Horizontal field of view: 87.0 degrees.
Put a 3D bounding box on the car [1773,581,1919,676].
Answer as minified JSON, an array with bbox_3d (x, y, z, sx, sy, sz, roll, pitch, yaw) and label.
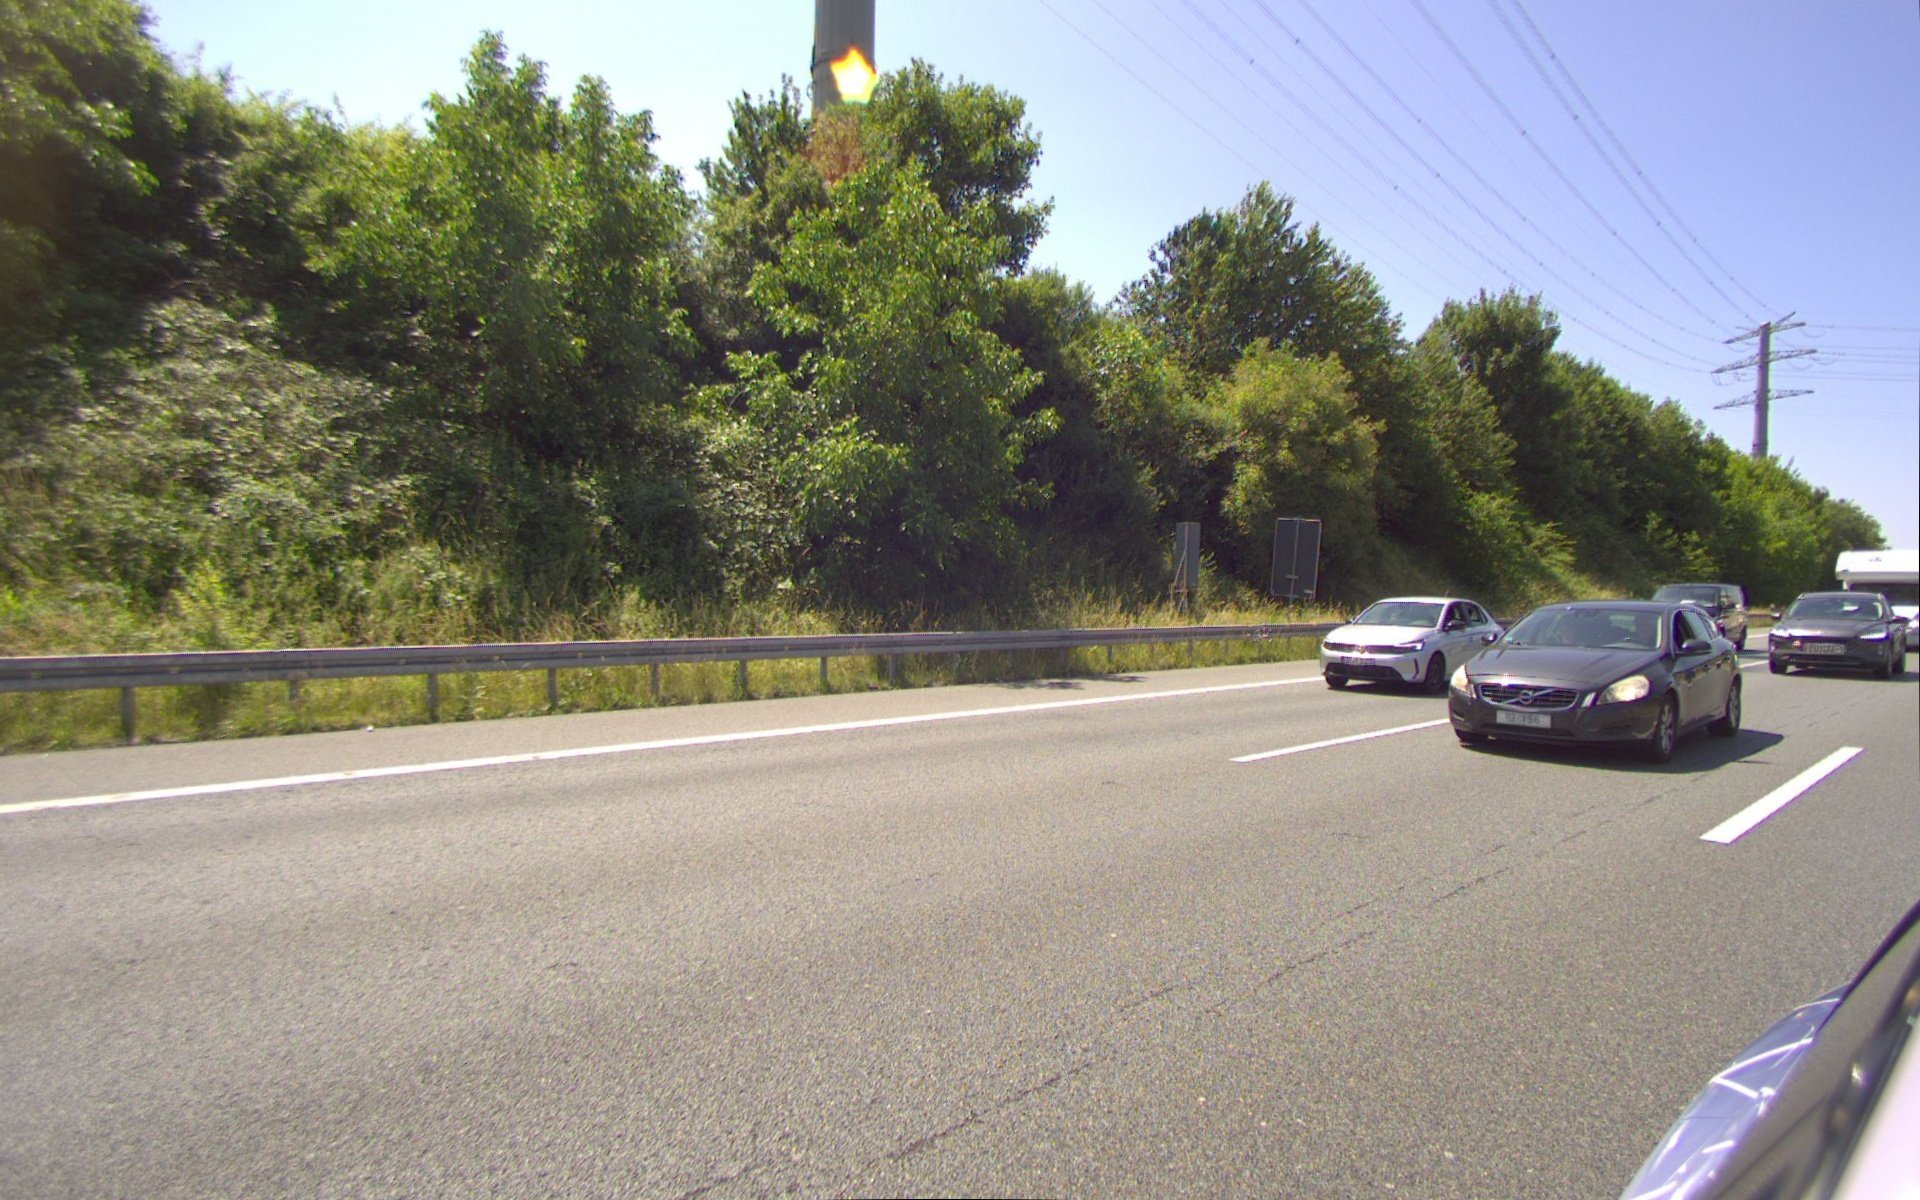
[{"bbox_3d":[18.128,0.494,20.615,4.310,1.724,1.889,0,0,-43],"label":"car"}]

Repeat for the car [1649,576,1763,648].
[{"bbox_3d":[21.613,0.309,29.254,4.618,1.928,1.786,0,0,-42],"label":"car"}]

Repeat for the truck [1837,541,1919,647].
[{"bbox_3d":[31.005,-0.210,32.817,9.724,3.053,2.512,0,0,-41],"label":"truck"}]

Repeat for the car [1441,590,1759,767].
[{"bbox_3d":[6.701,0.626,10.404,4.160,1.455,1.798,0,0,-43],"label":"car"}]

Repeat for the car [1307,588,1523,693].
[{"bbox_3d":[7.418,0.560,16.338,3.944,1.488,1.743,0,0,-42],"label":"car"}]
